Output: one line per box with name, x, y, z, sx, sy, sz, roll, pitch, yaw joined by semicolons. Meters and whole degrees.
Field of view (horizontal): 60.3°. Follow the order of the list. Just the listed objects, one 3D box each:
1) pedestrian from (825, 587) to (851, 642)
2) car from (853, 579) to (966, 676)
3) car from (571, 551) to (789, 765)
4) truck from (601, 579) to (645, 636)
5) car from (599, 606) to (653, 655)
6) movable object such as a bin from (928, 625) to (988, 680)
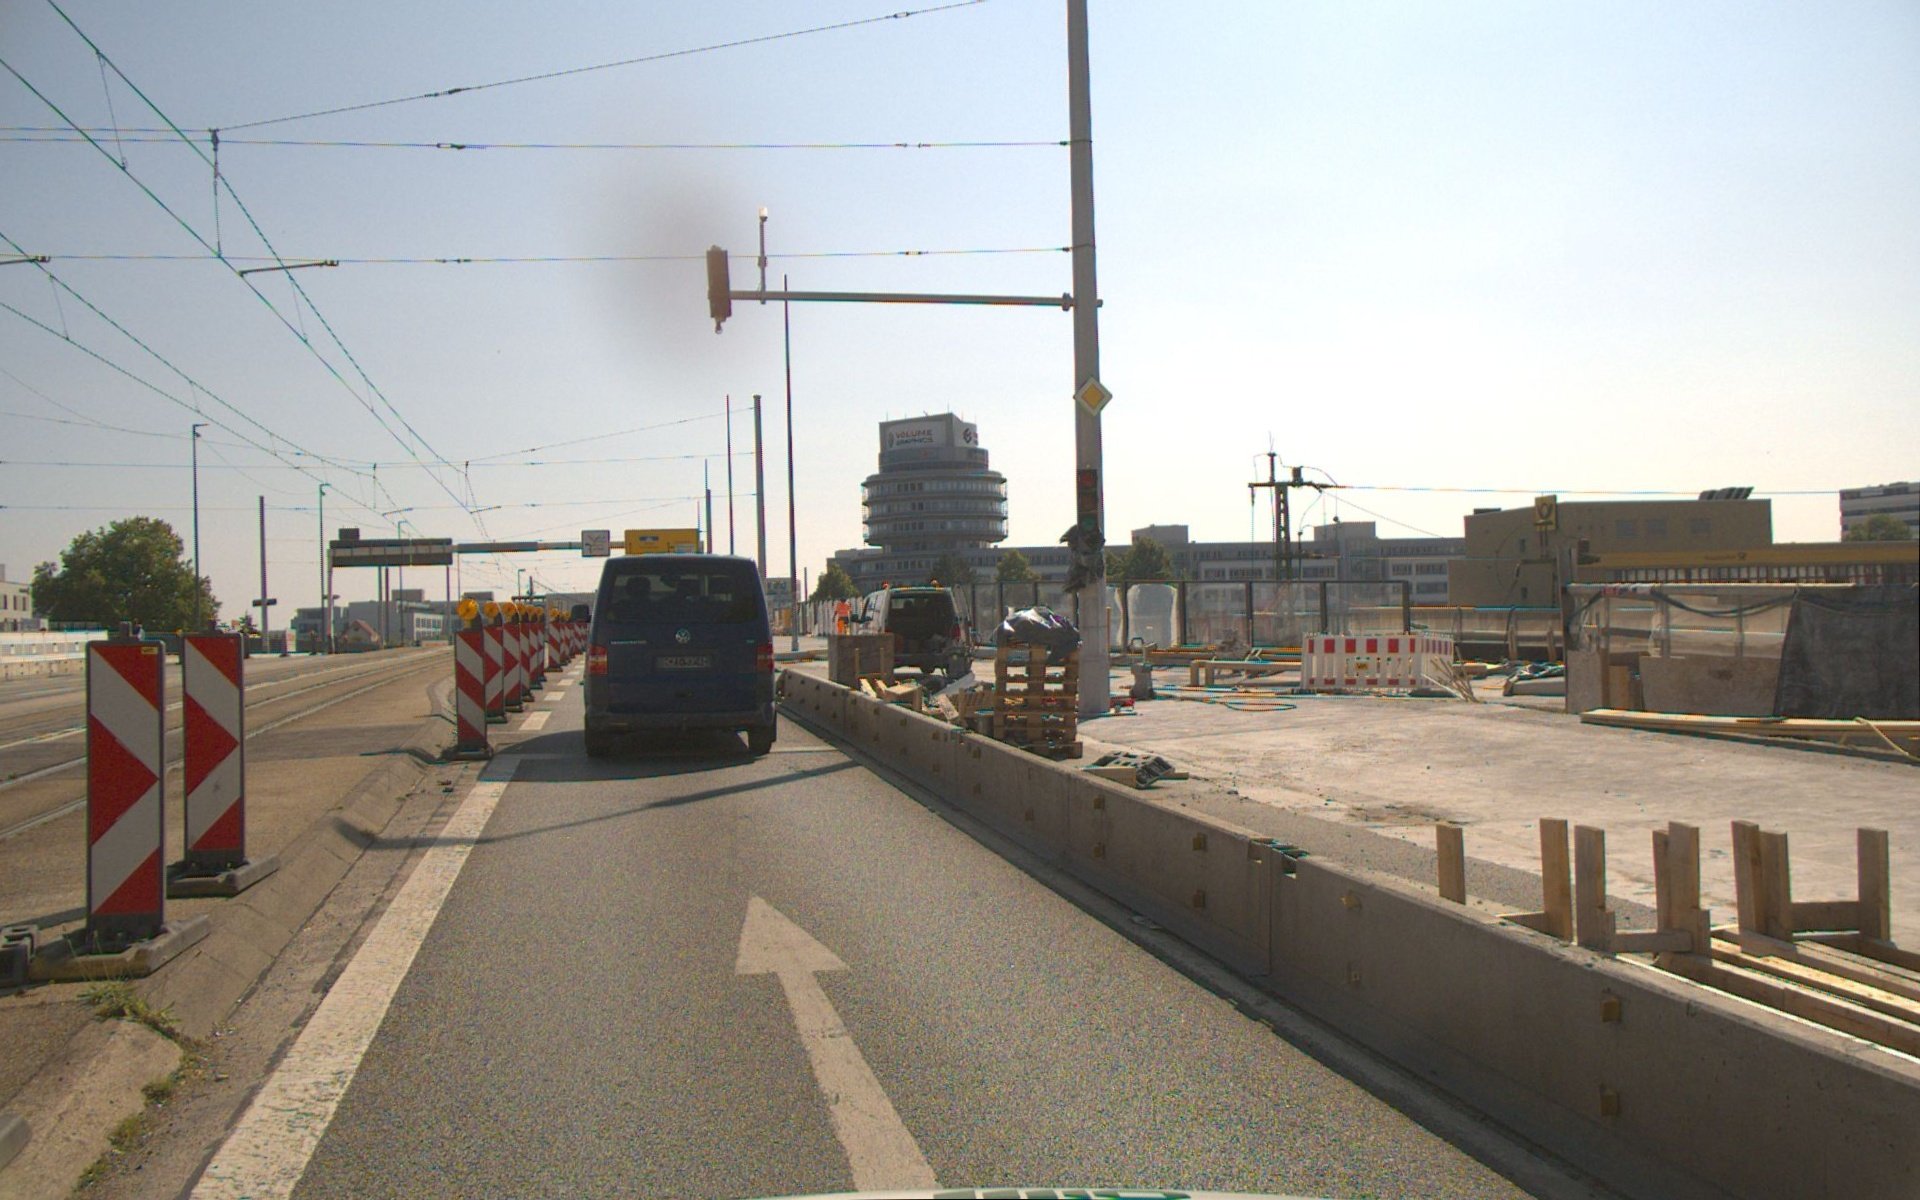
pedestrian;-4.466;0.538;60.363;0.768;1.969;0.797;-3;-1;-12
car;-1.238;0.636;38.036;1.845;2.069;4.878;0;-1;-11
car;-3.043;0.532;17.324;1.786;1.939;4.036;-1;0;-16
truck;-20.609;0.448;101.009;2.417;3.189;11.181;-2;0;-12
car;-11.264;0.980;55.633;1.687;1.559;3.686;-1;0;-12
movable object such as a bin;-0.037;1.088;34.501;0.923;1.093;0.889;-1;-1;34
